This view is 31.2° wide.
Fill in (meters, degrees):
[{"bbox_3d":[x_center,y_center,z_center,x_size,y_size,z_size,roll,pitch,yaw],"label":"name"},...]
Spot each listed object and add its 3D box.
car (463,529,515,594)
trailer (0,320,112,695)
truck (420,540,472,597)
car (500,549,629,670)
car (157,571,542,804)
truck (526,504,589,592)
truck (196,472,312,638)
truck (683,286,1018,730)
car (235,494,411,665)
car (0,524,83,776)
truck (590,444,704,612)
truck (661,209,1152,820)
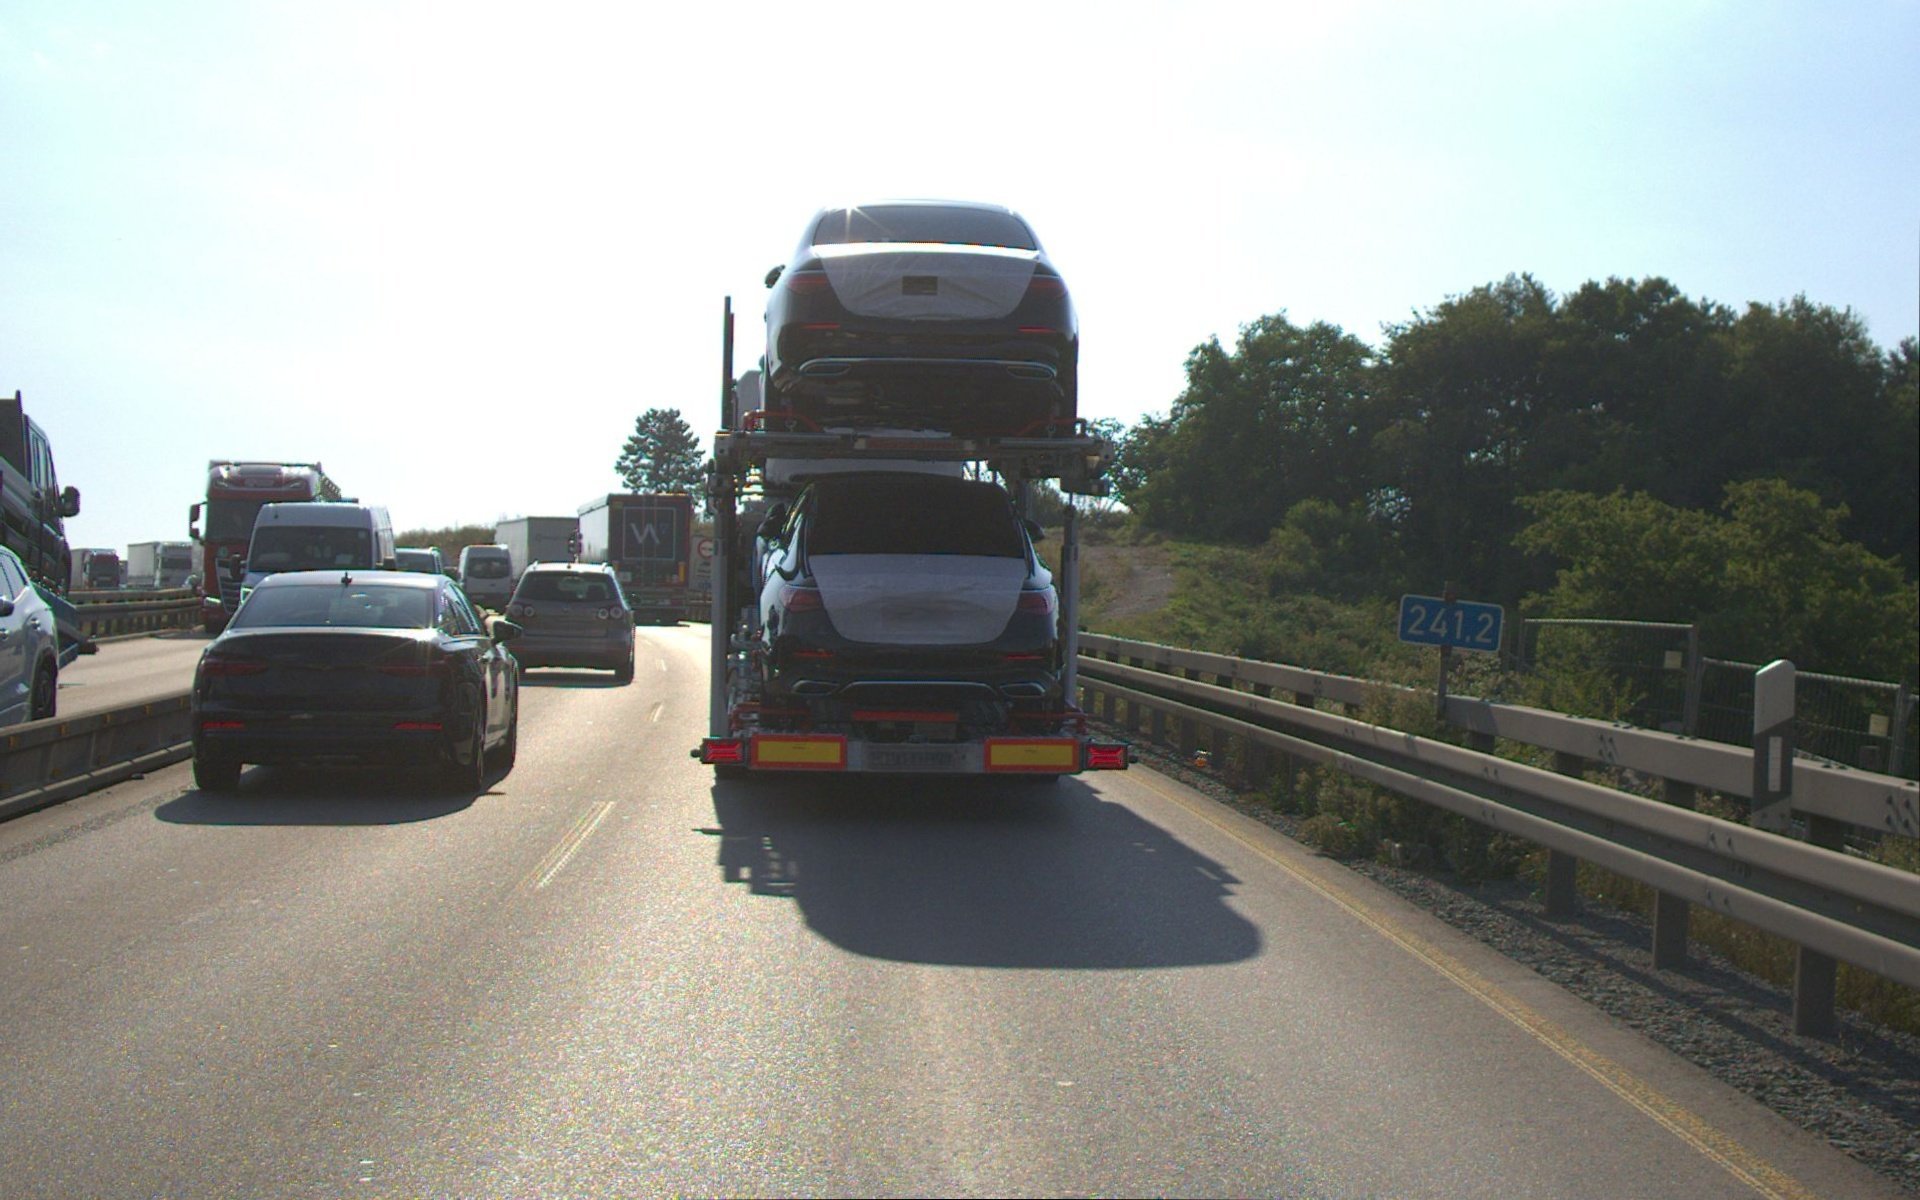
[{"bbox_3d":[-18.345,-1.505,133.846,1.920,2.484,5.410,0,0,-8],"label":"car"},{"bbox_3d":[-11.143,-0.938,33.905,2.694,3.859,15.393,0,1,-4],"label":"trailer"},{"bbox_3d":[-29.072,-1.795,194.556,2.590,3.159,6.678,0,0,-6],"label":"truck"},{"bbox_3d":[-5.428,0.109,47.512,1.691,1.590,4.001,0,0,-6],"label":"car"},{"bbox_3d":[-4.110,0.525,23.916,1.934,1.394,4.961,0,1,-2],"label":"car"},{"bbox_3d":[-17.123,-2.186,145.898,2.530,3.635,8.907,0,0,-7],"label":"truck"},{"bbox_3d":[-16.476,-1.030,80.766,2.313,3.595,11.975,0,1,-10],"label":"truck"},{"bbox_3d":[-1.167,-0.826,34.326,2.837,3.779,9.988,0,0,-3],"label":"truck"},{"bbox_3d":[-9.711,-0.329,52.857,2.104,2.474,6.068,0,0,-5],"label":"car"},{"bbox_3d":[-7.390,0.331,23.367,1.870,1.688,4.596,0,0,-3],"label":"car"},{"bbox_3d":[-10.240,-2.274,111.619,3.285,5.219,9.938,0,0,-7],"label":"truck"},{"bbox_3d":[-0.611,-0.531,24.960,2.799,3.485,10.607,0,0,-3],"label":"truck"}]
